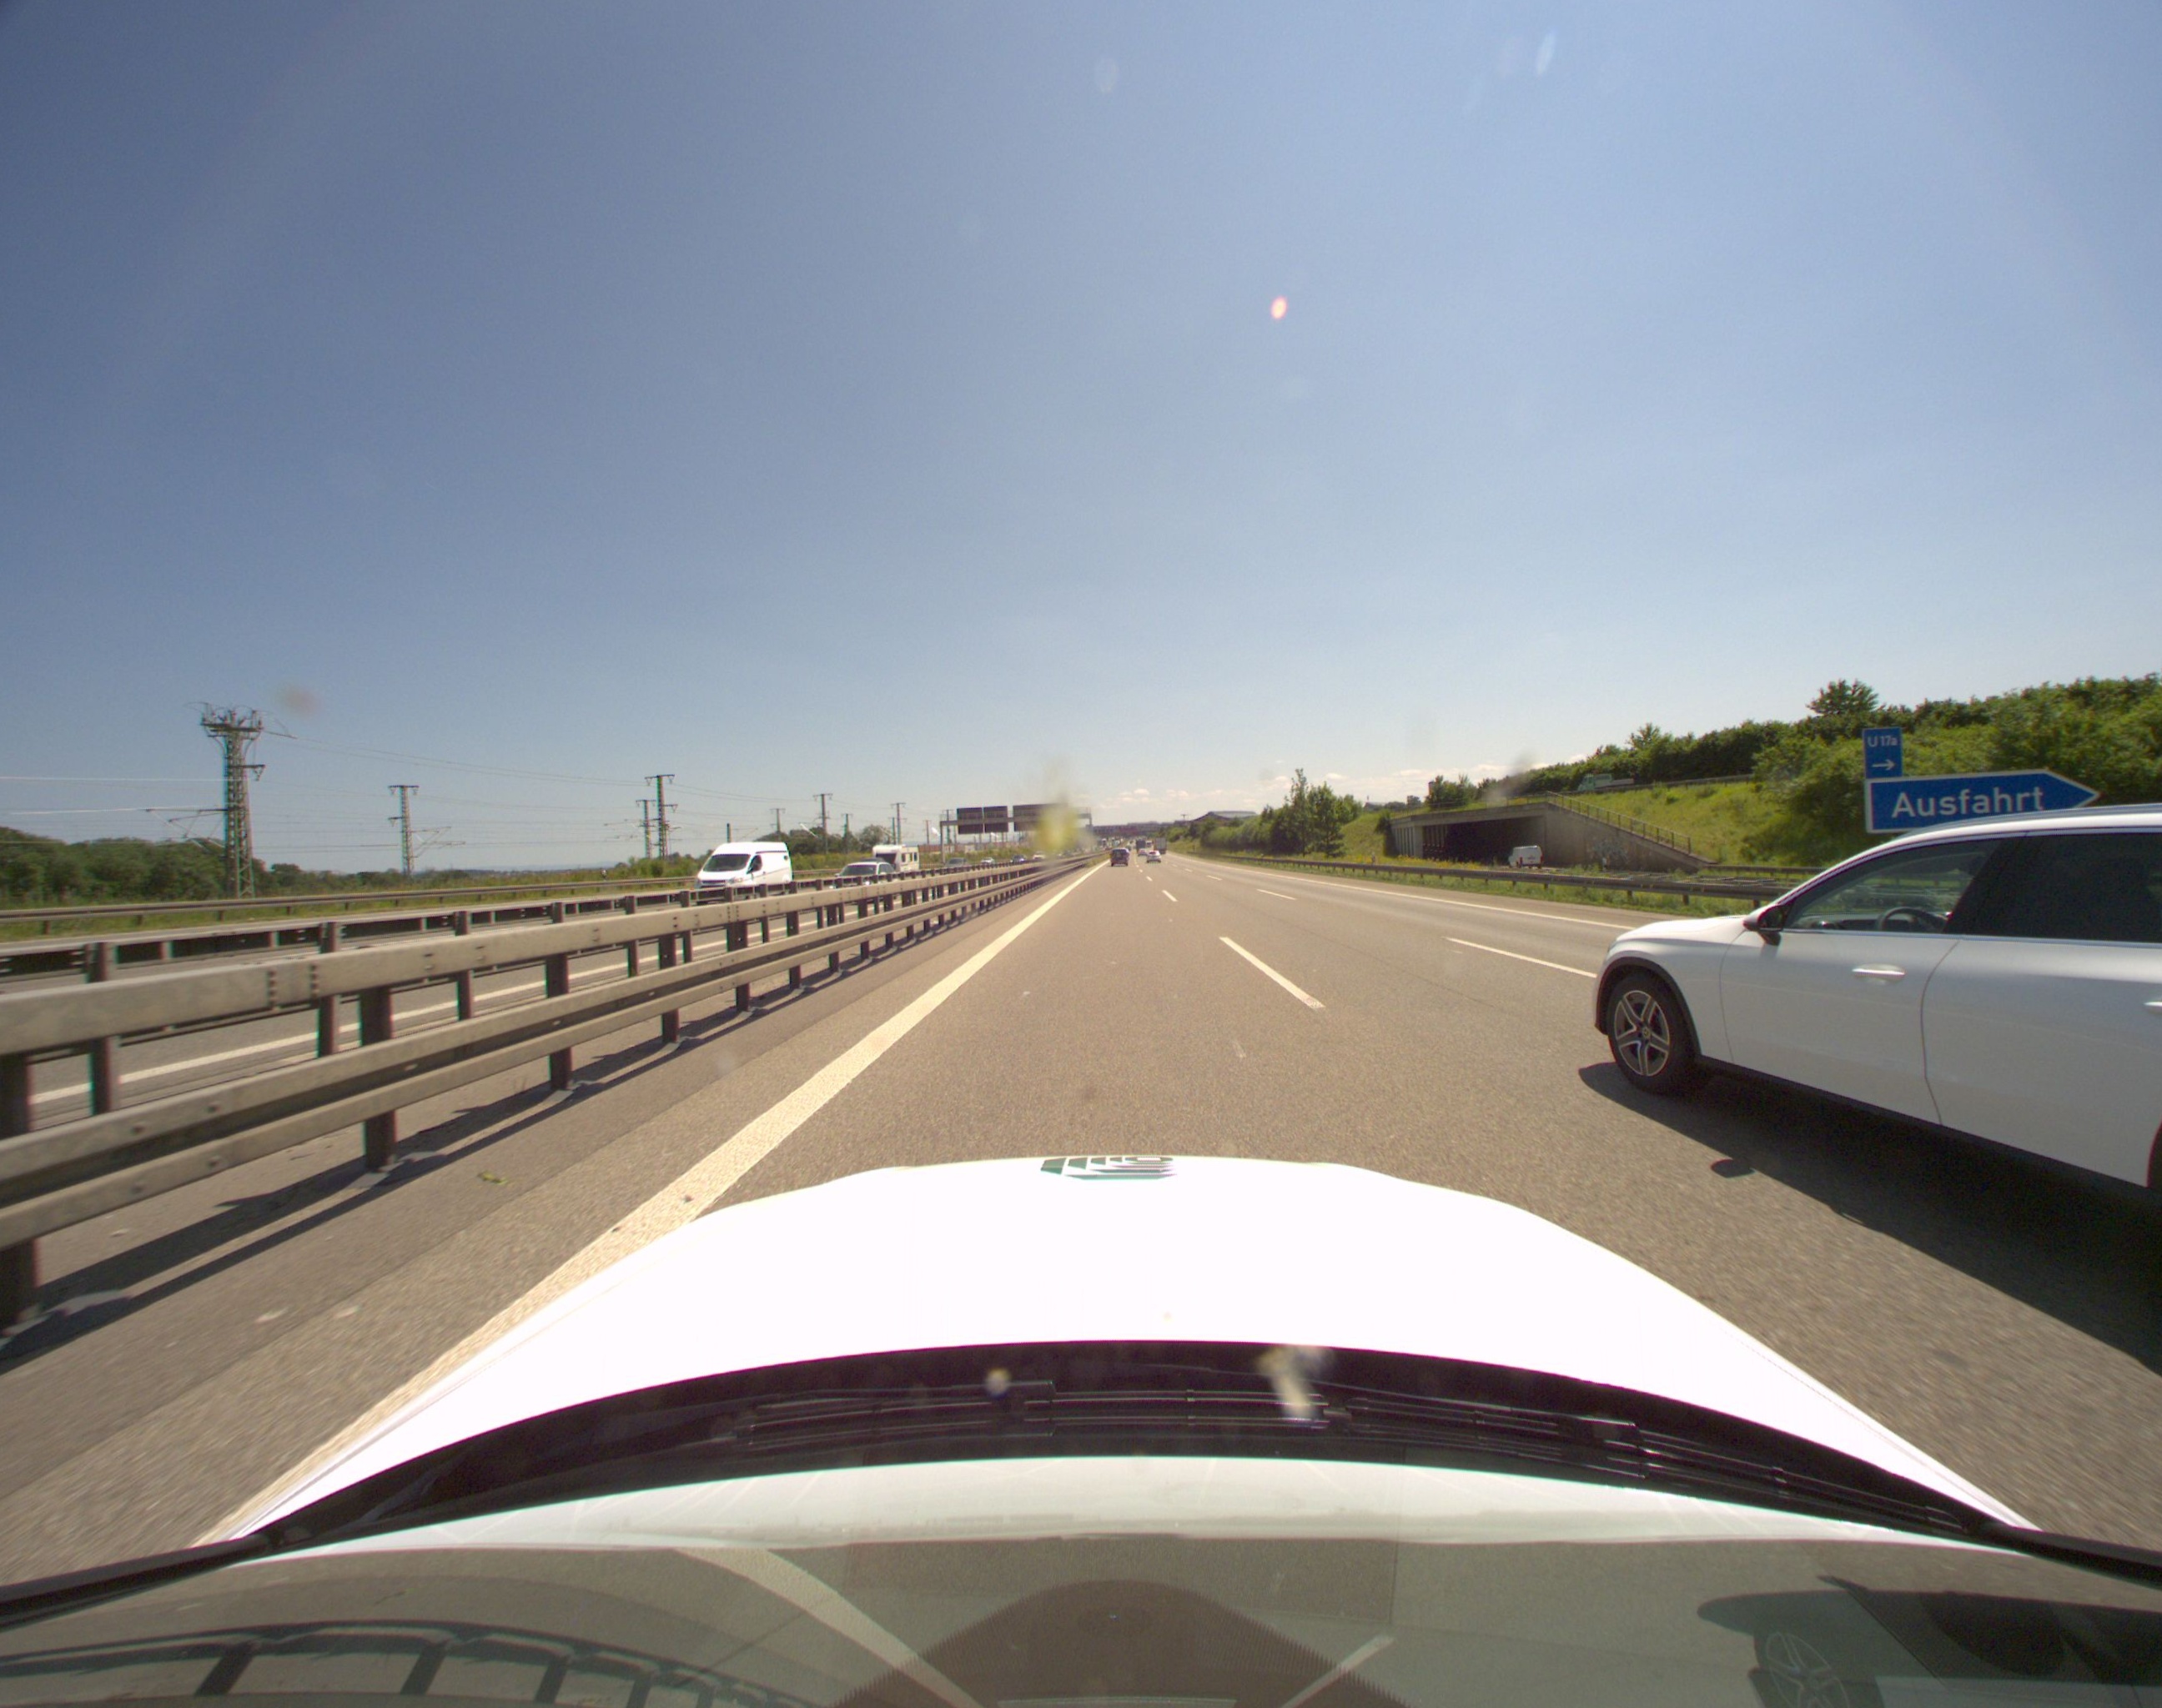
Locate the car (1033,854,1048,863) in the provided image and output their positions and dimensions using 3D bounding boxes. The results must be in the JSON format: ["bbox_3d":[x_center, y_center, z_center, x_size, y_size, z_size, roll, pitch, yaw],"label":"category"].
[{"bbox_3d":[-6.344,0.737,127.127,1.940,1.347,4.002,-1,0,2],"label":"car"}]

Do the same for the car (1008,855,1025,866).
[{"bbox_3d":[-8.246,0.776,104.282,1.758,1.347,4.002,-1,0,2],"label":"car"}]

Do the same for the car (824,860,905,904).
[{"bbox_3d":[-7.959,0.984,30.349,1.692,1.465,4.439,-1,0,2],"label":"car"}]

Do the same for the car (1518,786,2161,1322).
[{"bbox_3d":[4.289,0.627,3.793,1.891,1.647,4.999,-1,-1,1],"label":"car"}]

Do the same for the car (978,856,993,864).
[{"bbox_3d":[-15.577,0.970,133.357,1.758,1.347,4.002,-1,0,2],"label":"car"}]

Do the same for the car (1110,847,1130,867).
[{"bbox_3d":[4.034,0.353,84.372,1.919,1.919,4.951,-1,-1,3],"label":"car"}]

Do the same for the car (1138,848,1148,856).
[{"bbox_3d":[12.528,-0.384,164.907,1.974,1.473,4.002,-1,-1,2],"label":"car"}]

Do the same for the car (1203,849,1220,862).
[{"bbox_3d":[19.485,0.248,121.672,1.920,1.919,4.516,-1,-1,0],"label":"car"}]

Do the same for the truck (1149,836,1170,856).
[{"bbox_3d":[18.455,-1.948,192.145,4.024,4.261,11.764,-1,1,2],"label":"truck"}]

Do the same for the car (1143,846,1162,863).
[{"bbox_3d":[8.801,0.110,100.672,1.920,1.919,4.516,-1,-1,0],"label":"car"}]

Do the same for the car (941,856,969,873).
[{"bbox_3d":[-10.826,0.880,70.176,1.687,1.347,4.002,-1,0,2],"label":"car"}]

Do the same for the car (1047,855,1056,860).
[{"bbox_3d":[-7.722,0.848,212.790,1.940,1.347,4.002,-1,0,2],"label":"car"}]

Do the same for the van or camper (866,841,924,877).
[{"bbox_3d":[-14.775,0.356,65.363,2.507,2.665,8.068,-1,0,2],"label":"van or camper"}]

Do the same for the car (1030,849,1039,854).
[{"bbox_3d":[-12.316,-0.576,215.207,1.940,1.347,4.002,-1,0,2],"label":"car"}]

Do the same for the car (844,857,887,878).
[{"bbox_3d":[-15.224,0.946,57.737,1.758,1.347,4.384,-1,0,2],"label":"car"}]

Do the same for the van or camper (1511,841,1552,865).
[{"bbox_3d":[38.779,-0.052,70.175,2.140,2.014,4.322,-1,-1,16],"label":"van or camper"}]

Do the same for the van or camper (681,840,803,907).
[{"bbox_3d":[-12.780,0.679,31.193,1.986,2.300,5.896,-1,0,2],"label":"van or camper"}]

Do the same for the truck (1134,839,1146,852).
[{"bbox_3d":[15.360,-2.113,213.843,2.692,3.109,10.663,-1,-1,2],"label":"truck"}]
